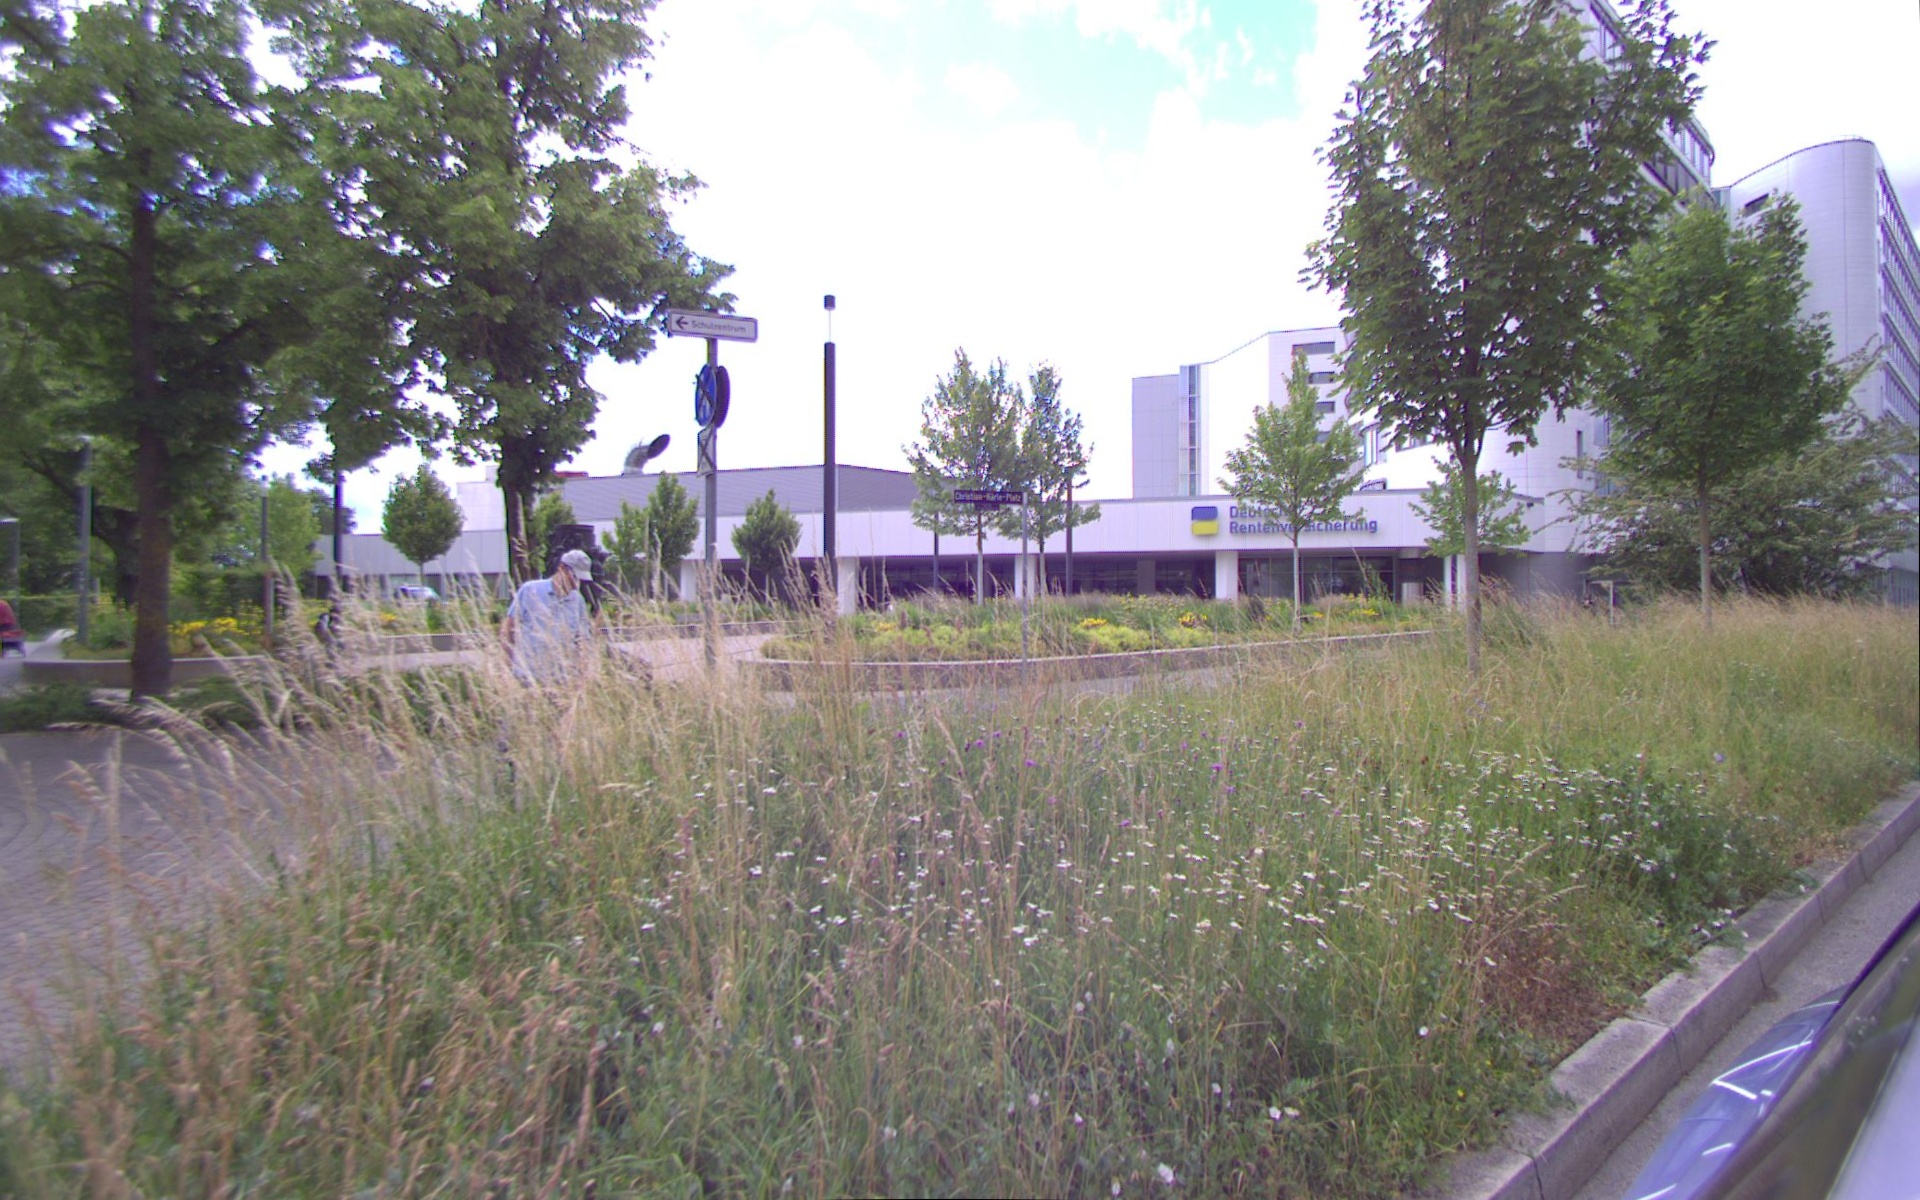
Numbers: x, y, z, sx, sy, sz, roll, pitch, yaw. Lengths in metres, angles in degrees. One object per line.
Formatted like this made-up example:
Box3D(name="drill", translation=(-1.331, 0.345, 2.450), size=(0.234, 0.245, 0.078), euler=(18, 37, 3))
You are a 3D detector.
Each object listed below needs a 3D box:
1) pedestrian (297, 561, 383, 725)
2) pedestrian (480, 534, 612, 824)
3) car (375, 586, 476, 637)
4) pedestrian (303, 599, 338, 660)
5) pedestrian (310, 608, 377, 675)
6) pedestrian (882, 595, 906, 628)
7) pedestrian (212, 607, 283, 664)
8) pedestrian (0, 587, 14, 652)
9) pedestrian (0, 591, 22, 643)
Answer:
Box3D(name="pedestrian", translation=(-6.782, 0.440, 11.067), size=(0.685, 1.716, 0.651), euler=(0, 0, -43))
Box3D(name="pedestrian", translation=(-2.795, 0.492, 6.812), size=(0.714, 1.813, 0.694), euler=(1, 0, -31))
Box3D(name="car", translation=(-19.481, 0.387, 36.879), size=(3.472, 1.788, 1.622), euler=(0, 0, 28))
Box3D(name="pedestrian", translation=(-13.806, 0.628, 21.844), size=(0.560, 1.278, 0.581), euler=(-1, 0, -42))
Box3D(name="pedestrian", translation=(-8.553, 0.559, 14.047), size=(0.685, 0.874, 0.651), euler=(0, 0, -43))
Box3D(name="pedestrian", translation=(-2.622, 0.432, 40.209), size=(0.870, 1.290, 0.704), euler=(0, 0, 3))
Box3D(name="pedestrian", translation=(-12.382, 0.611, 17.599), size=(0.736, 0.960, 0.713), euler=(0, 0, -2))
Box3D(name="pedestrian", translation=(-22.854, 0.457, 23.974), size=(0.624, 1.520, 0.703), euler=(0, 0, -42))
Box3D(name="pedestrian", translation=(-31.290, 0.534, 32.971), size=(0.867, 1.672, 0.978), euler=(0, 0, 40))
